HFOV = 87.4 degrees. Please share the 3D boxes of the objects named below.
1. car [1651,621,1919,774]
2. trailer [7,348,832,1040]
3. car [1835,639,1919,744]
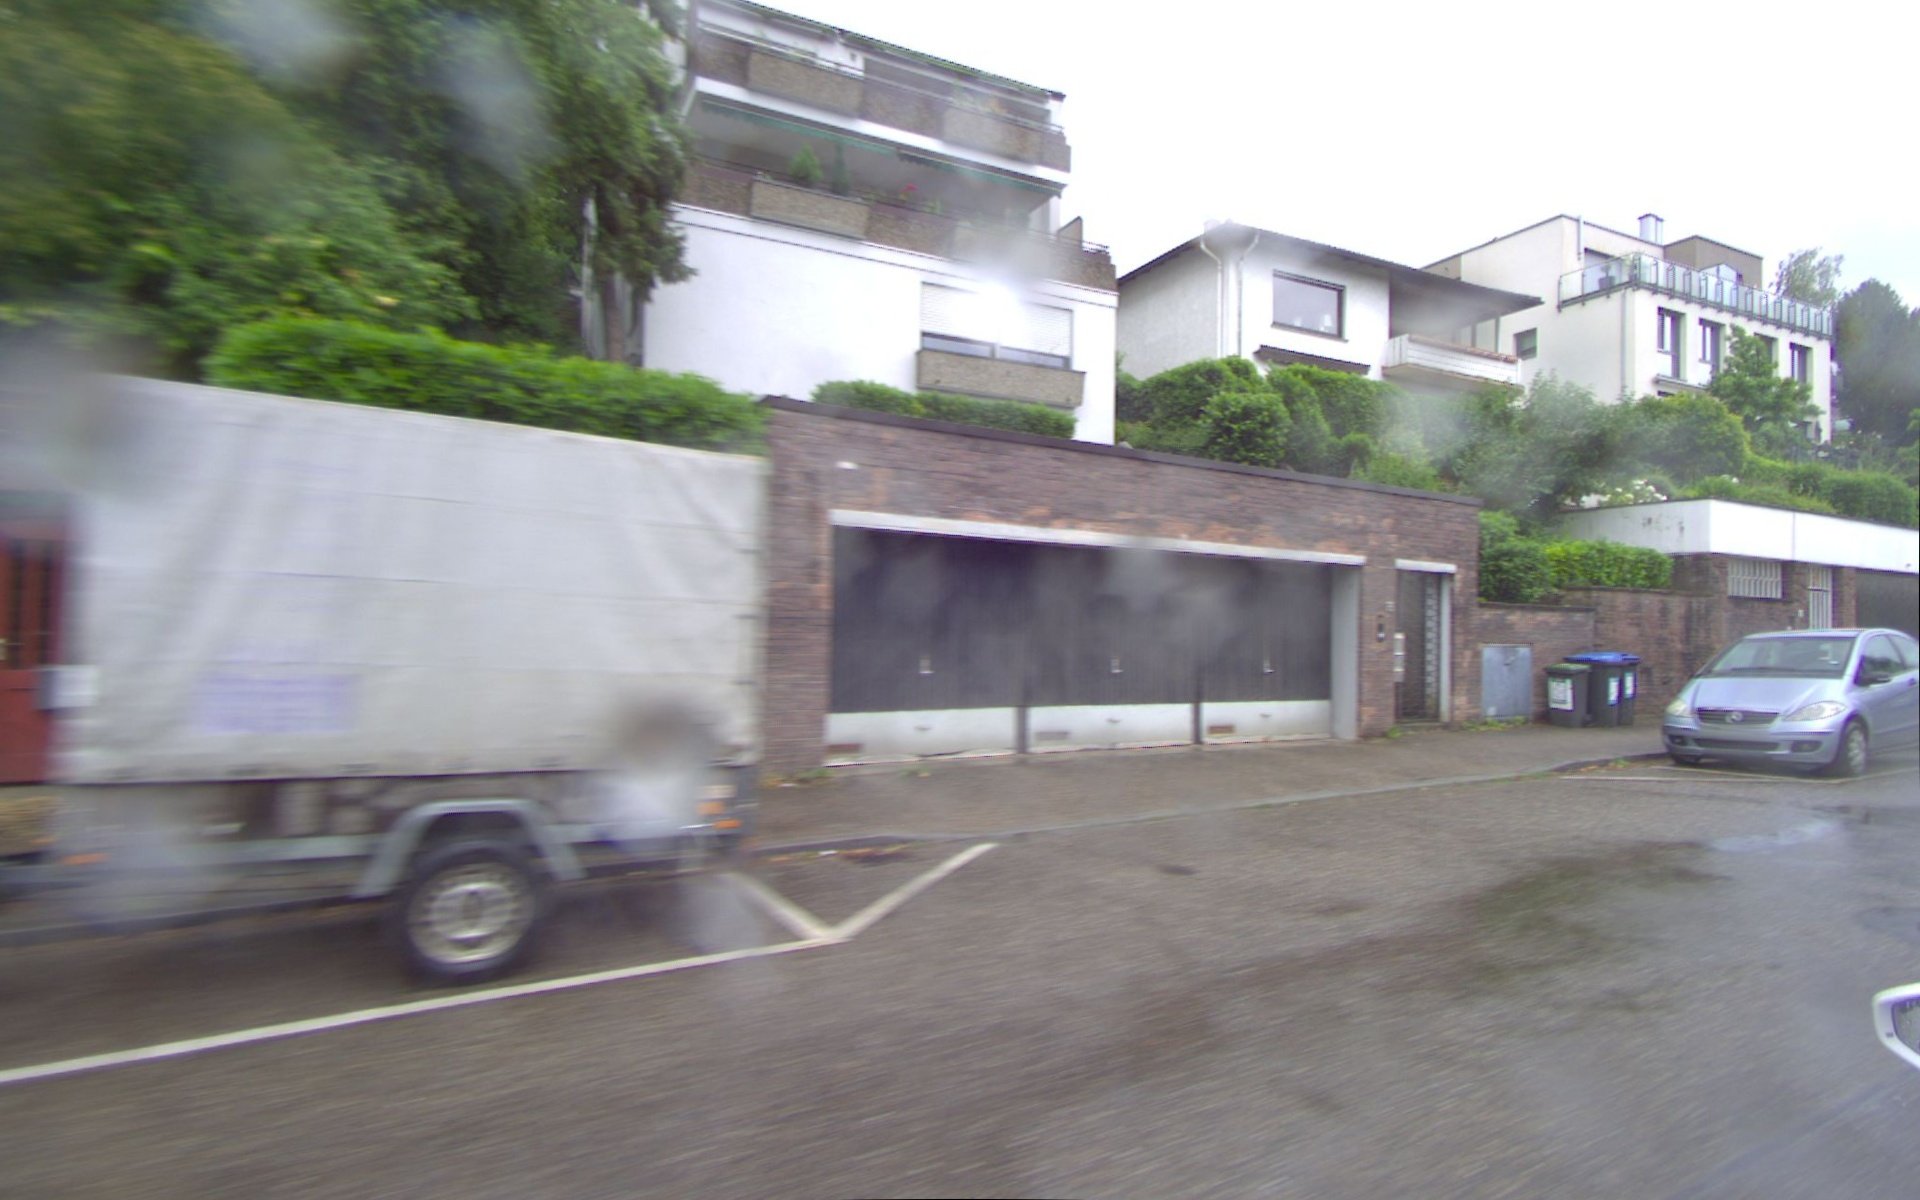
[{"bbox_3d":[10.187,1.082,11.982,3.712,1.559,1.748,1,-4,-30],"label":"car"},{"bbox_3d":[-2.324,0.384,4.938,3.034,2.430,1.531,1,-3,-28],"label":"trailer"},{"bbox_3d":[14.563,1.270,14.536,3.661,1.427,1.748,1,-4,-30],"label":"car"}]
